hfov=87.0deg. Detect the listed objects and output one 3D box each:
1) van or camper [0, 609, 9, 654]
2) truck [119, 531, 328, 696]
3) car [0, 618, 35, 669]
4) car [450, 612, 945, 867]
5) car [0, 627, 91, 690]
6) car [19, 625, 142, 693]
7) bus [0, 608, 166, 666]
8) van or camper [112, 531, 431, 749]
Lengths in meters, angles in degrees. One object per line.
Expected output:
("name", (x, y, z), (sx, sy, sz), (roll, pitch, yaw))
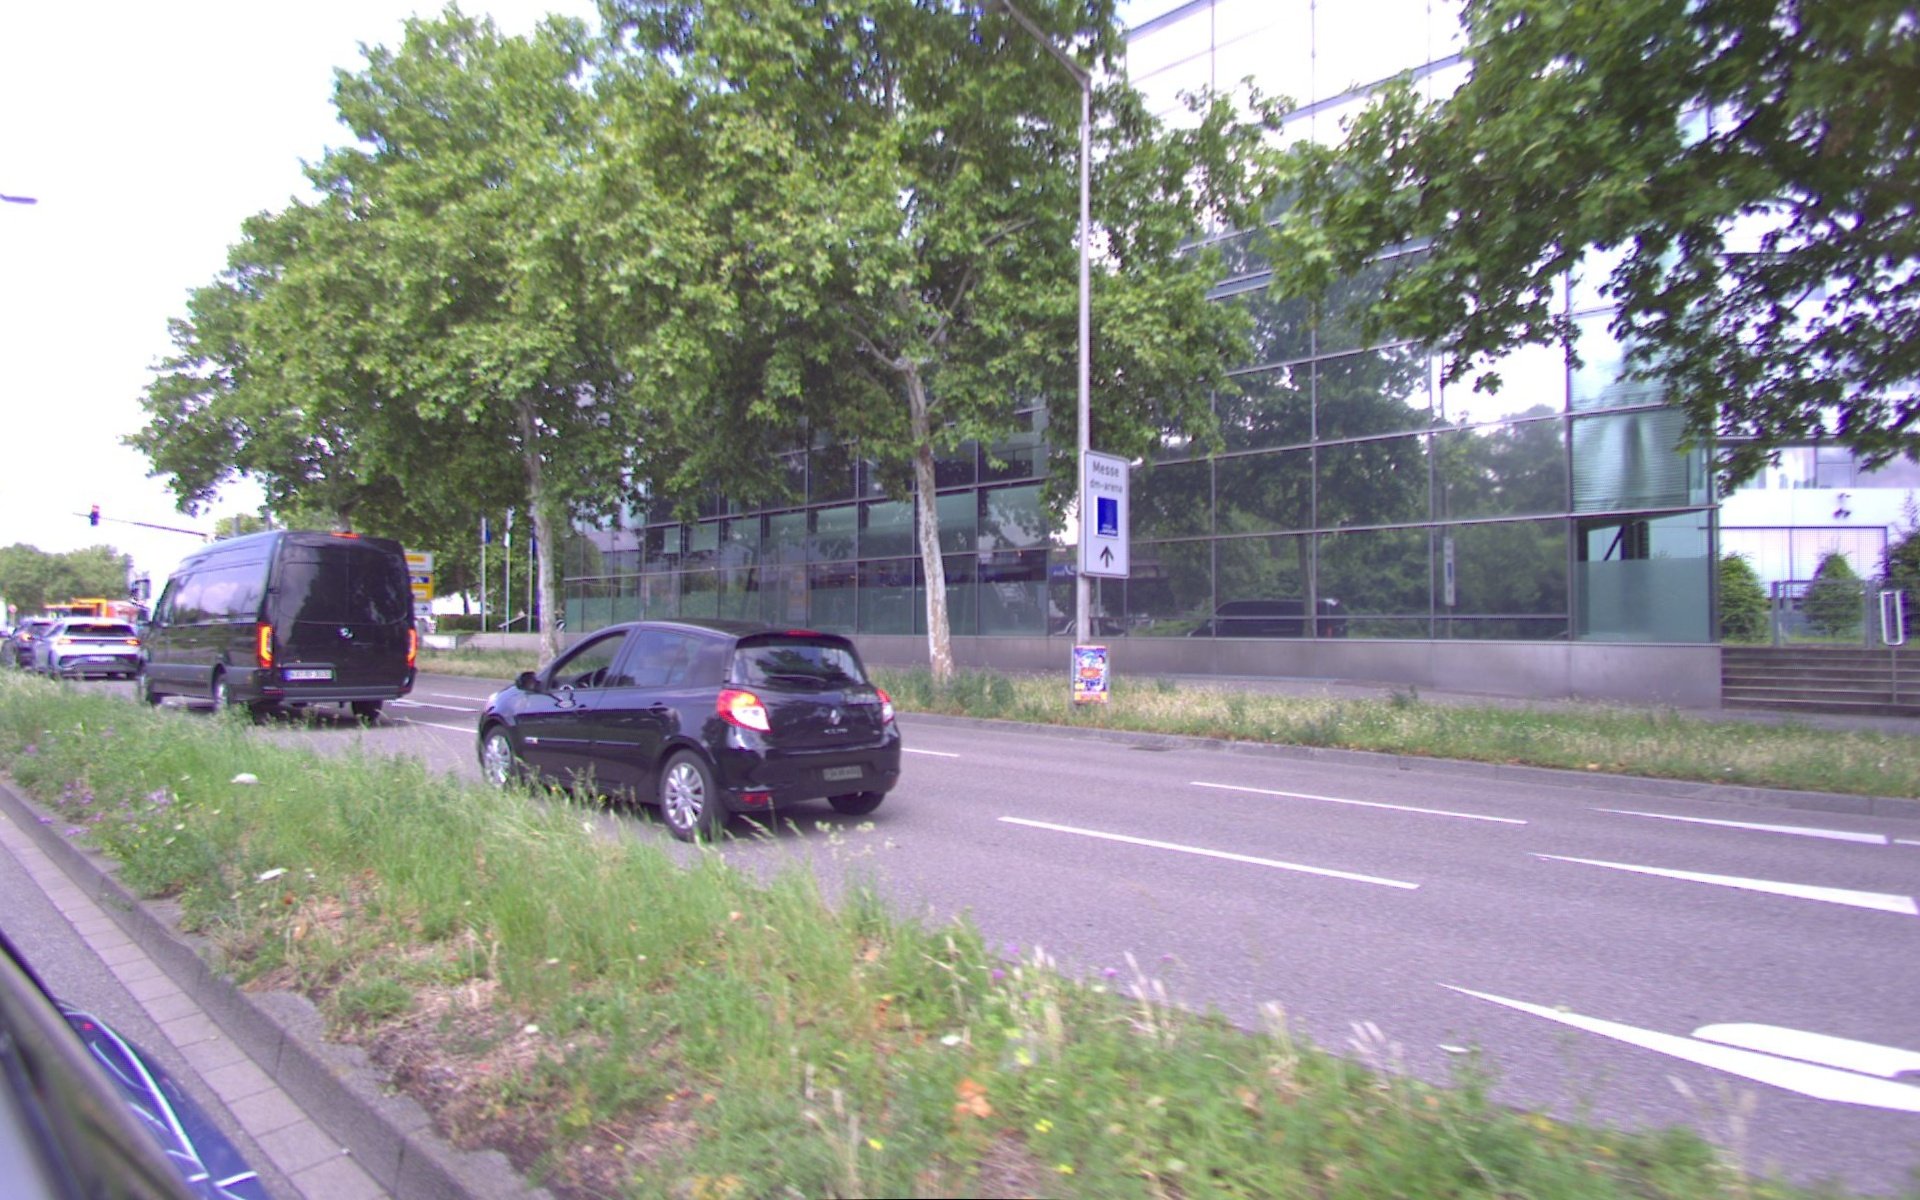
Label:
("van or camper", (-61.443, 1.989, 61.108), (2.137, 2.806, 5.958), (3, 1, 4))
("truck", (-20.859, 0.446, 28.319), (10.157, 3.917, 2.622), (-2, -2, 42))
("car", (-32.513, 1.424, 33.804), (4.565, 1.586, 1.845), (0, -1, 41))
("car", (-2.160, 0.856, 7.795), (3.937, 1.475, 1.677), (-1, -3, 39))
("car", (-26.806, 1.638, 29.386), (4.358, 1.599, 1.690), (0, -1, 40))
("car", (-22.319, 1.465, 25.618), (4.231, 1.564, 1.726), (-1, -4, 41))
("bus", (-63.552, 2.527, 73.654), (2.712, 3.491, 10.379), (2, 1, 5))
("van or camper", (-10.648, 0.579, 15.361), (6.710, 2.680, 2.083), (-1, -3, 39))
